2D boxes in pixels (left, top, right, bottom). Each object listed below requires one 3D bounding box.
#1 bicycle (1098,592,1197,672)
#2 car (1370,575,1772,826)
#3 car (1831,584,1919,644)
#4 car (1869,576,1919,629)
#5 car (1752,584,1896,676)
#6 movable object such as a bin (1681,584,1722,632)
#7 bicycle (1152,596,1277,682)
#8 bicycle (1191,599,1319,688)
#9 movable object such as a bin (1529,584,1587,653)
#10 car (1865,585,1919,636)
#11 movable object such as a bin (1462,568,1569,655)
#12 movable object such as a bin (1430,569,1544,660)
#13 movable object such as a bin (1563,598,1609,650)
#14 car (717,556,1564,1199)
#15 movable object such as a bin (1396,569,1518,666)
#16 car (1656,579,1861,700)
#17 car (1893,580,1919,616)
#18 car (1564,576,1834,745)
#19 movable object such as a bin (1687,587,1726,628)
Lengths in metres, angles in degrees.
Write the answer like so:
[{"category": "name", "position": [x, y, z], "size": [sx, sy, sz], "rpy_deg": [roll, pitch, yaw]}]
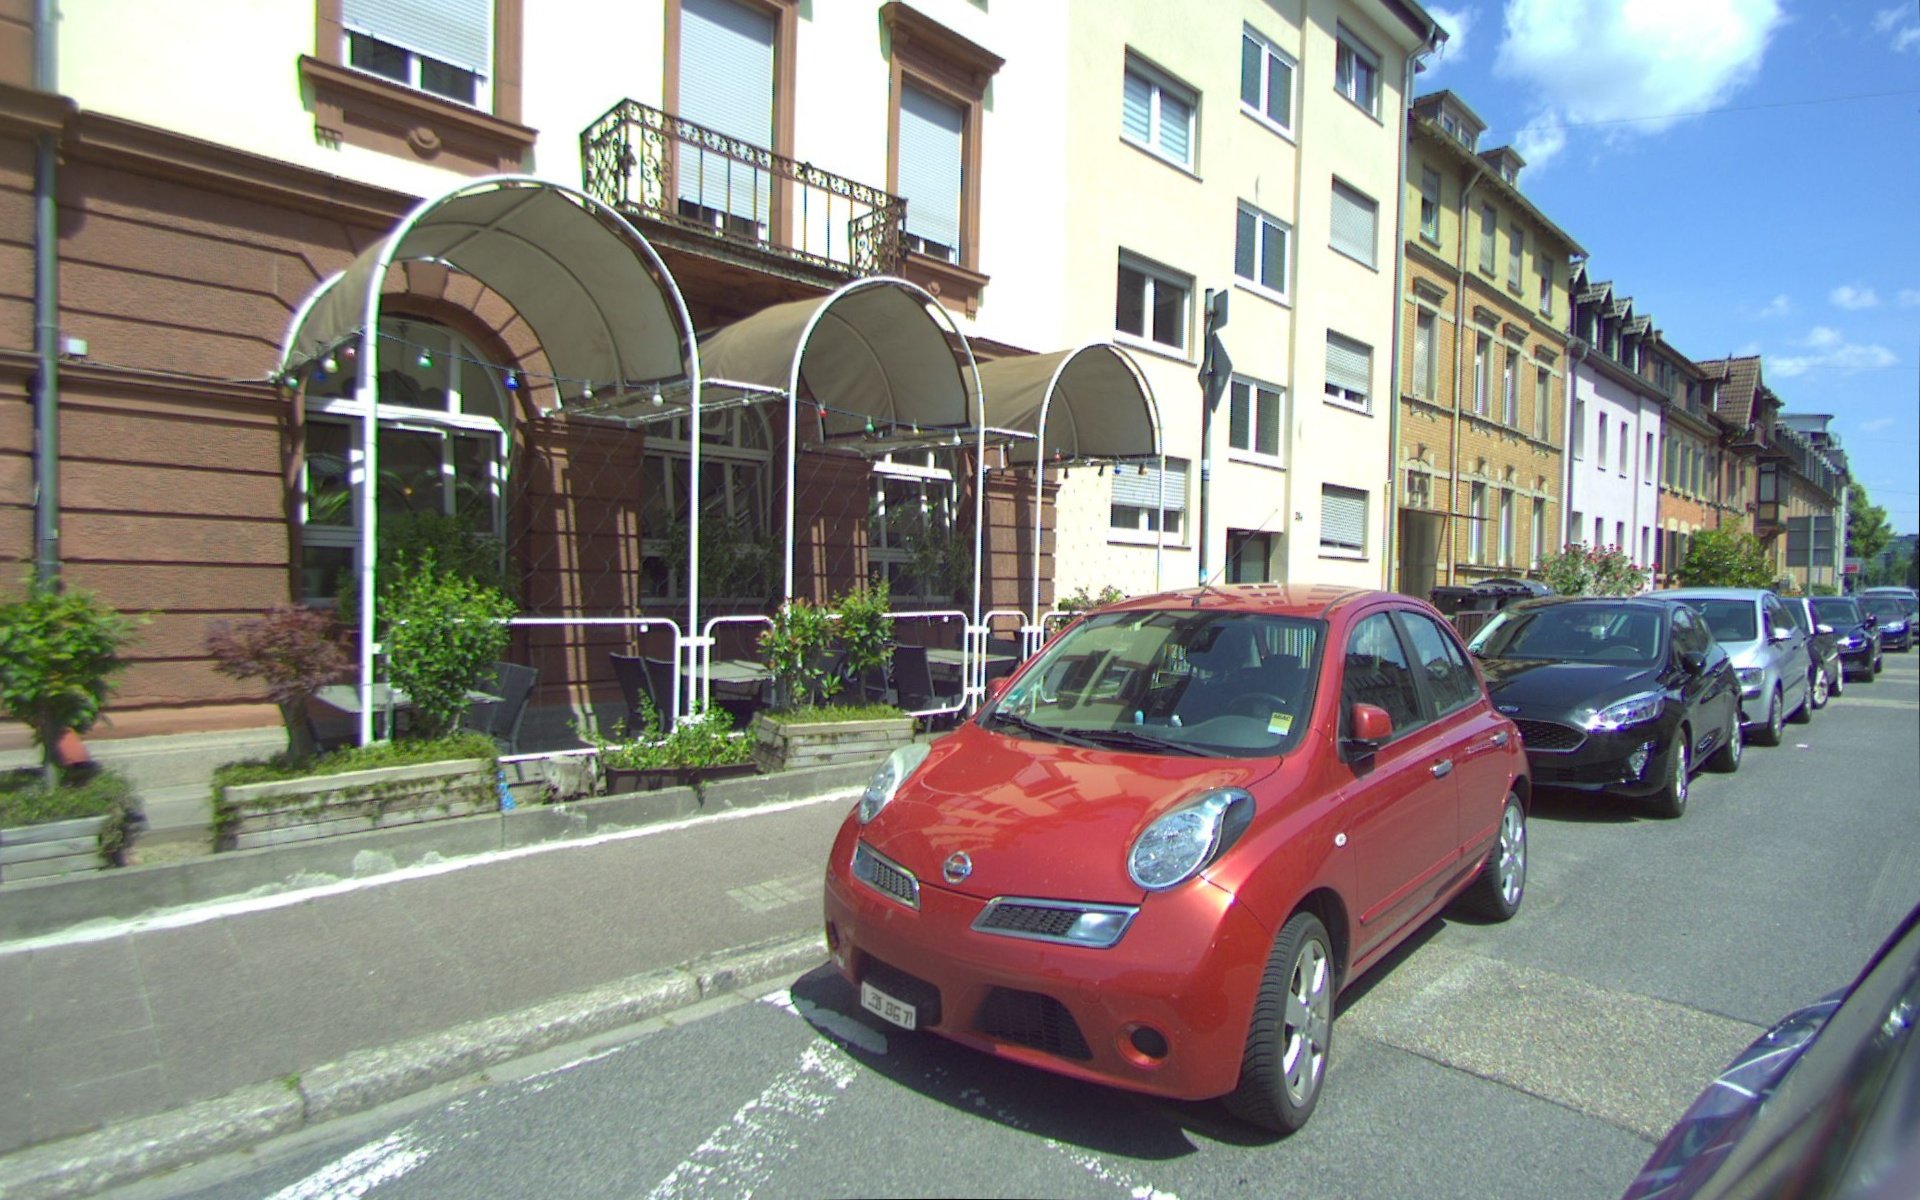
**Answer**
[{"category": "bicycle", "position": [2.516, 0.395, 13.443], "size": [0.550, 0.995, 1.605], "rpy_deg": [2, 1, 41]}, {"category": "car", "position": [4.988, 0.592, 8.039], "size": [3.865, 1.497, 1.759], "rpy_deg": [-1, 0, -43]}, {"category": "car", "position": [24.680, 0.348, 27.140], "size": [1.705, 1.497, 3.867], "rpy_deg": [-1, 0, 45]}, {"category": "car", "position": [32.861, 0.074, 35.150], "size": [1.705, 1.731, 3.867], "rpy_deg": [-1, 0, 45]}, {"category": "car", "position": [16.104, 0.481, 18.785], "size": [1.757, 1.497, 4.348], "rpy_deg": [-1, 0, 44]}, {"category": "movable object such as a bin", "position": [20.102, 0.216, 27.444], "size": [0.751, 1.257, 0.863], "rpy_deg": [2, 2, 45]}, {"category": "bicycle", "position": [3.173, 0.460, 12.576], "size": [1.598, 0.995, 0.553], "rpy_deg": [0, 1, -33]}, {"category": "bicycle", "position": [3.535, 0.489, 12.079], "size": [1.598, 0.995, 0.553], "rpy_deg": [0, 1, -33]}, {"category": "movable object such as a bin", "position": [10.897, 0.328, 18.439], "size": [0.722, 1.202, 0.735], "rpy_deg": [2, 2, 45]}, {"category": "car", "position": [29.101, 0.295, 31.110], "size": [1.705, 1.497, 3.867], "rpy_deg": [-1, 0, 45]}, {"category": "movable object such as a bin", "position": [9.716, 0.167, 17.709], "size": [1.283, 1.428, 1.284], "rpy_deg": [0, 2, -43]}, {"category": "movable object such as a bin", "position": [8.735, 0.203, 16.785], "size": [1.341, 1.413, 1.284], "rpy_deg": [0, 2, -43]}, {"category": "movable object such as a bin", "position": [12.007, 0.450, 19.413], "size": [0.625, 0.939, 0.602], "rpy_deg": [2, 2, 45]}, {"category": "car", "position": [1.073, 0.645, 4.210], "size": [1.756, 1.497, 3.726], "rpy_deg": [-1, 0, 42]}, {"category": "movable object such as a bin", "position": [7.754, 0.240, 15.795], "size": [1.389, 1.413, 1.284], "rpy_deg": [0, 2, -43]}, {"category": "car", "position": [11.525, 0.483, 14.519], "size": [3.865, 1.497, 1.759], "rpy_deg": [-1, 0, -43]}, {"category": "car", "position": [44.580, -0.112, 46.983], "size": [1.705, 1.648, 3.867], "rpy_deg": [-1, 0, 45]}, {"category": "car", "position": [8.438, 0.554, 11.424], "size": [3.998, 1.571, 1.759], "rpy_deg": [-1, 0, -43]}, {"category": "movable object such as a bin", "position": [20.683, 0.198, 28.036], "size": [0.751, 1.111, 0.863], "rpy_deg": [2, 2, 45]}]
